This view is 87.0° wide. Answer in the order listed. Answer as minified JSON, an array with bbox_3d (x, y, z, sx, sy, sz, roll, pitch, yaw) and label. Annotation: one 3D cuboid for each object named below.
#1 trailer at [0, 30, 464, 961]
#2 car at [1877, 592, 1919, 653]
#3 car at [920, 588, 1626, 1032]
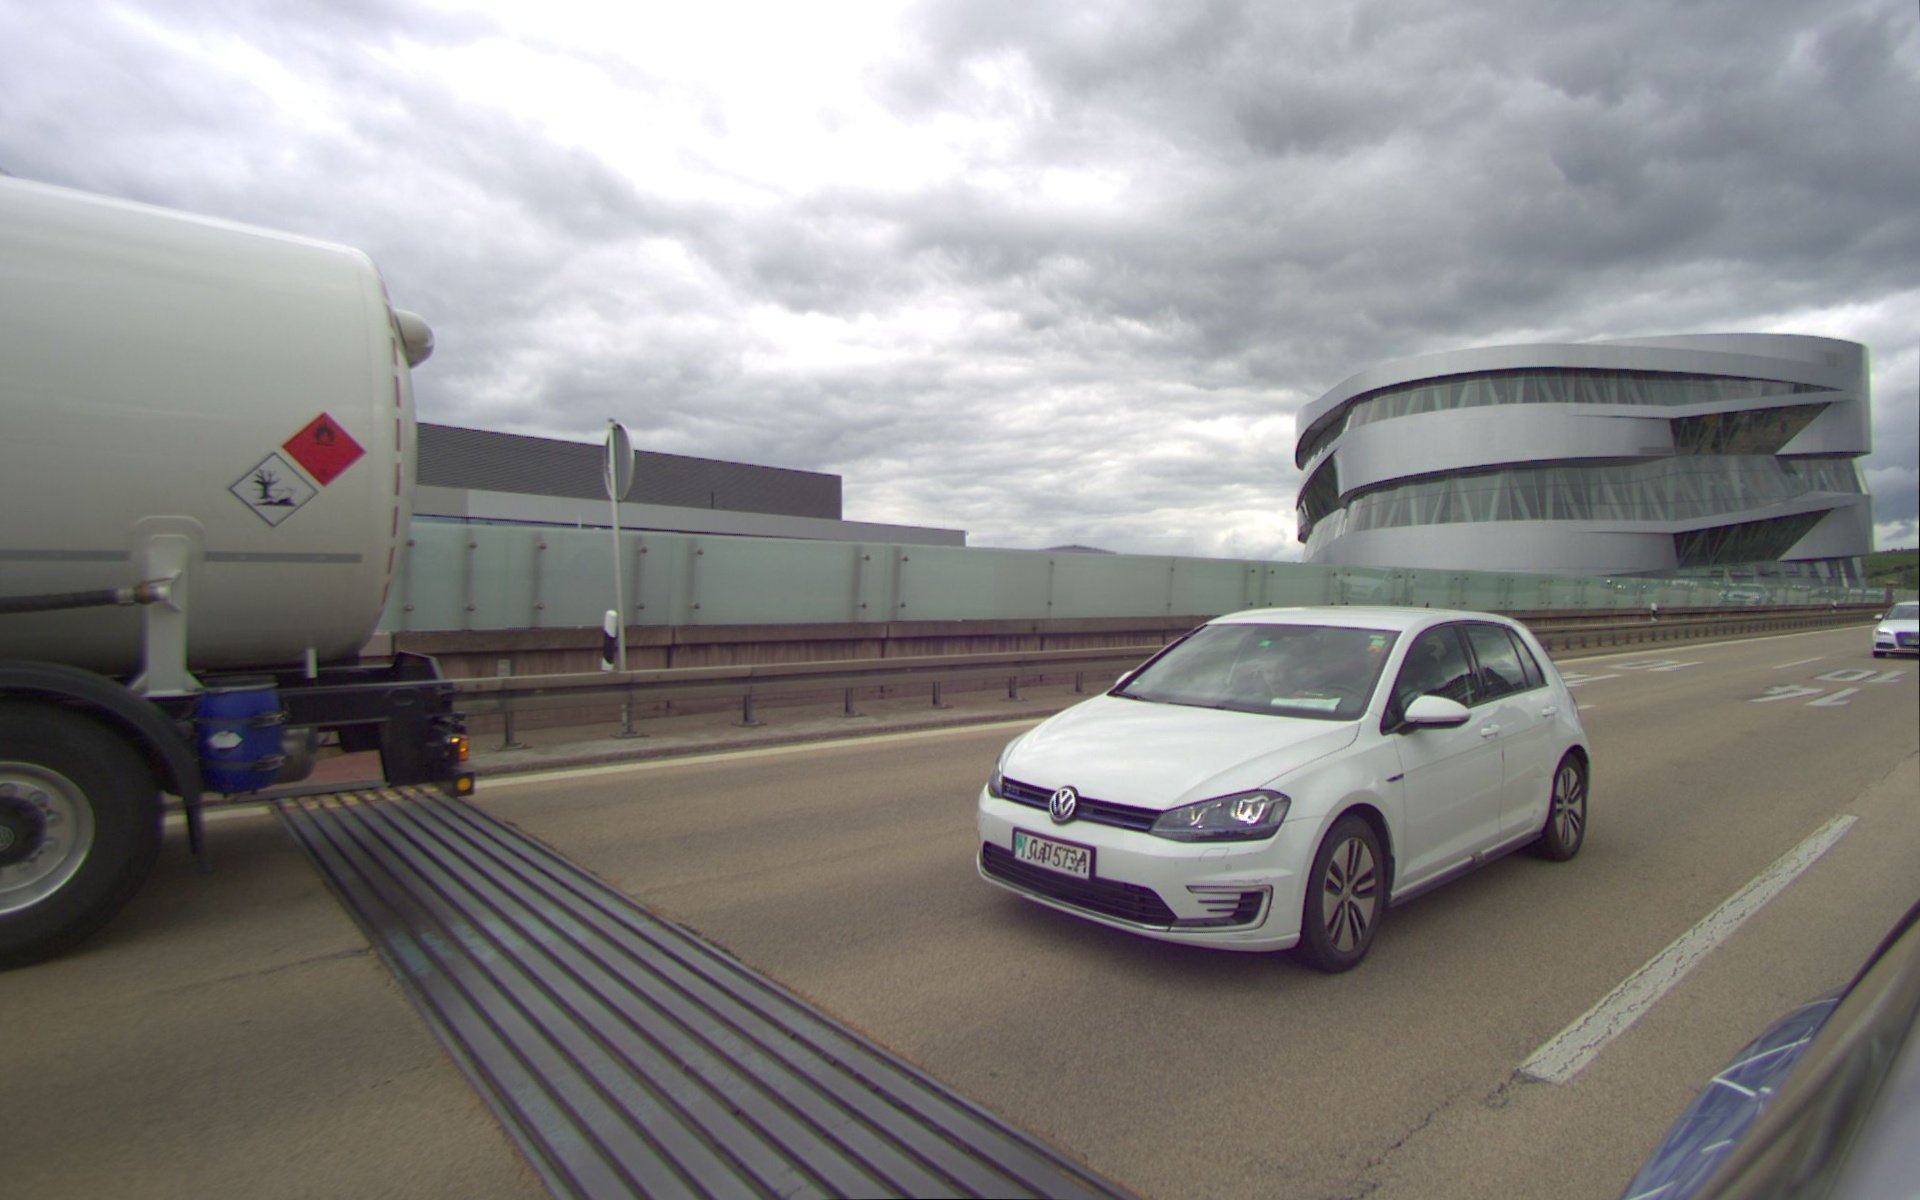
[{"bbox_3d":[-7.463,-0.386,2.402,11.023,3.588,2.655,0,0,-41],"label":"trailer"},{"bbox_3d":[24.798,0.546,25.540,3.861,1.470,1.848,0,0,-38],"label":"car"},{"bbox_3d":[1.887,0.711,5.367,4.001,1.470,1.757,0,-1,-42],"label":"car"}]
